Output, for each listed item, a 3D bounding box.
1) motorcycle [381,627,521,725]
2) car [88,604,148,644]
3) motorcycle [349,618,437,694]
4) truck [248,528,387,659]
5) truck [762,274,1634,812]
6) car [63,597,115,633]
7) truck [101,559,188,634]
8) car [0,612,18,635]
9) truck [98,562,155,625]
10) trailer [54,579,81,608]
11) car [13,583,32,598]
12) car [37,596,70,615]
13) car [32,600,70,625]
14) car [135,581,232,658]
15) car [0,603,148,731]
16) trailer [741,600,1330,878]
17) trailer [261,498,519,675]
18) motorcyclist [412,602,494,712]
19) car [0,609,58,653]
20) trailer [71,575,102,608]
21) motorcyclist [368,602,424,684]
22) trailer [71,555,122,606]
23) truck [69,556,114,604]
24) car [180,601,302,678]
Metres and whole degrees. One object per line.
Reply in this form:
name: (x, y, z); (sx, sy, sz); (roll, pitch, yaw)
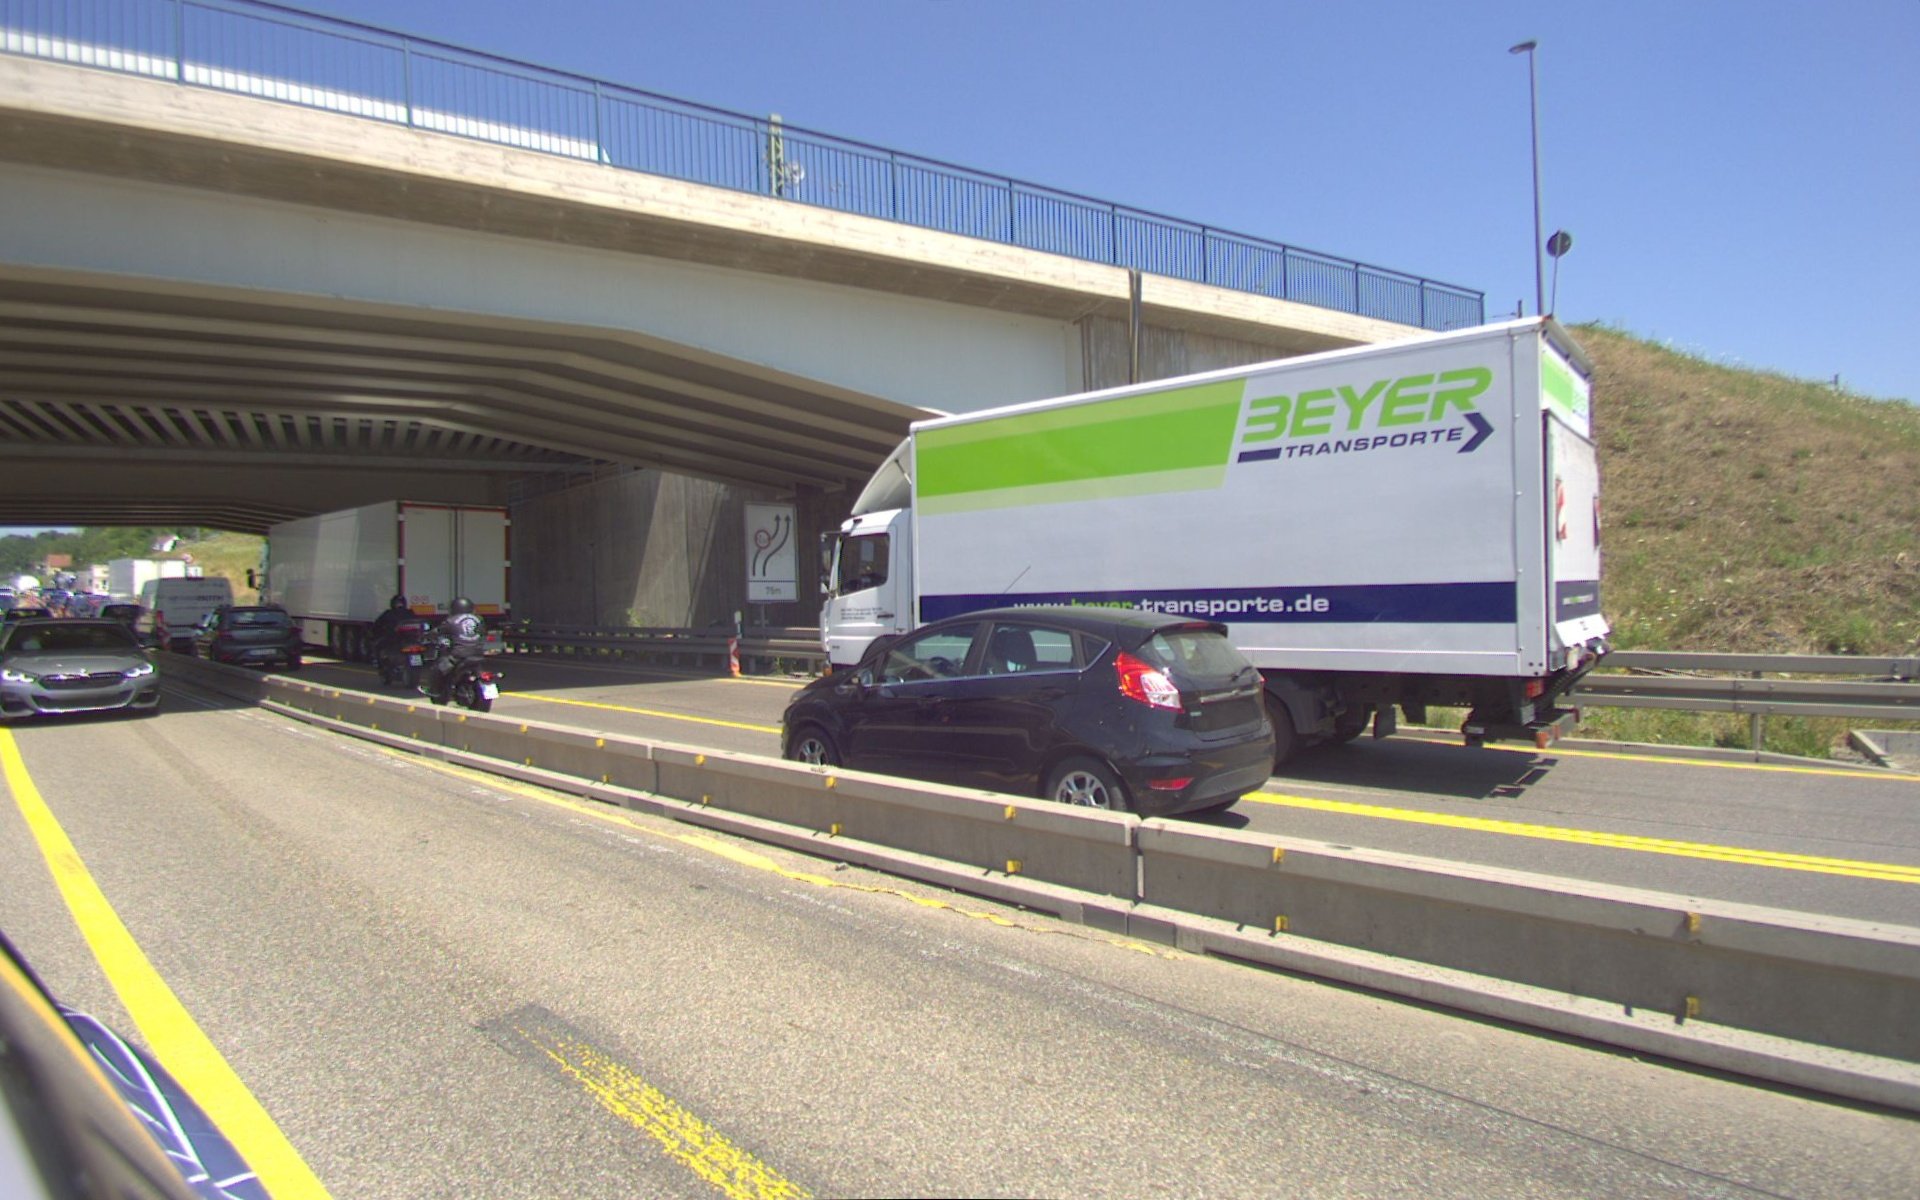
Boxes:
motorcycle: (-7.103, 0.989, 14.030); (2.791, 1.158, 0.823); (0, 0, 43)
car: (-37.038, 1.007, 44.481); (1.728, 1.622, 4.145); (-1, 0, -44)
motorcycle: (-10.500, 0.990, 18.674); (2.736, 1.289, 0.694); (-1, 0, 45)
truck: (-21.792, -0.234, 34.275); (4.887, 4.081, 2.841); (-1, 1, 45)
truck: (1.791, -0.337, 10.580); (8.489, 3.602, 2.789); (-1, 0, 40)
car: (-49.232, 0.824, 57.147); (4.969, 1.947, 1.780); (0, 0, 44)
truck: (-52.310, -0.334, 64.709); (13.496, 4.345, 2.738); (2, 2, 44)
car: (-65.921, 1.608, 69.186); (3.997, 1.564, 1.778); (-1, 0, 40)
truck: (-57.260, -0.498, 69.509); (2.628, 4.202, 5.191); (-1, 1, -44)
trailer: (-129.031, -1.006, 146.273); (2.569, 3.899, 11.286); (-1, 2, -43)
car: (-164.727, -1.656, 177.741); (2.181, 2.649, 6.632); (-1, 1, -45)
car: (-77.067, 0.454, 86.014); (1.834, 1.539, 4.776); (-1, 2, -45)
car: (-62.253, 0.853, 69.304); (1.702, 1.622, 4.526); (-2, 1, -45)
car: (-25.671, 0.577, 33.363); (1.957, 2.347, 6.064); (-1, 0, -43)
car: (-13.274, 0.887, 14.893); (1.811, 1.609, 4.395); (-1, 0, -42)
trailer: (0.353, 0.738, 7.225); (3.996, 1.442, 1.647); (0, 0, 40)
trailer: (-17.116, -0.283, 29.440); (2.844, 4.070, 14.368); (-3, 1, -44)
motorcyclist: (-6.961, 0.750, 13.904); (0.743, 1.427, 0.802); (1, 1, 43)
car: (-35.384, 1.120, 38.272); (1.812, 1.484, 4.394); (-1, 1, -43)
trailer: (-107.419, -1.073, 124.504); (2.622, 3.844, 11.842); (0, 1, -40)
motorcyclist: (-10.336, 0.770, 18.545); (0.743, 1.427, 0.710); (1, 1, 43)
trailer: (-74.845, -1.726, 87.656); (2.780, 4.205, 8.249); (-1, 2, -45)
truck: (-77.588, -1.789, 90.397); (4.076, 4.181, 2.767); (1, 1, 44)
car: (-17.389, 0.900, 24.400); (4.081, 1.683, 1.727); (-1, 0, 45)
